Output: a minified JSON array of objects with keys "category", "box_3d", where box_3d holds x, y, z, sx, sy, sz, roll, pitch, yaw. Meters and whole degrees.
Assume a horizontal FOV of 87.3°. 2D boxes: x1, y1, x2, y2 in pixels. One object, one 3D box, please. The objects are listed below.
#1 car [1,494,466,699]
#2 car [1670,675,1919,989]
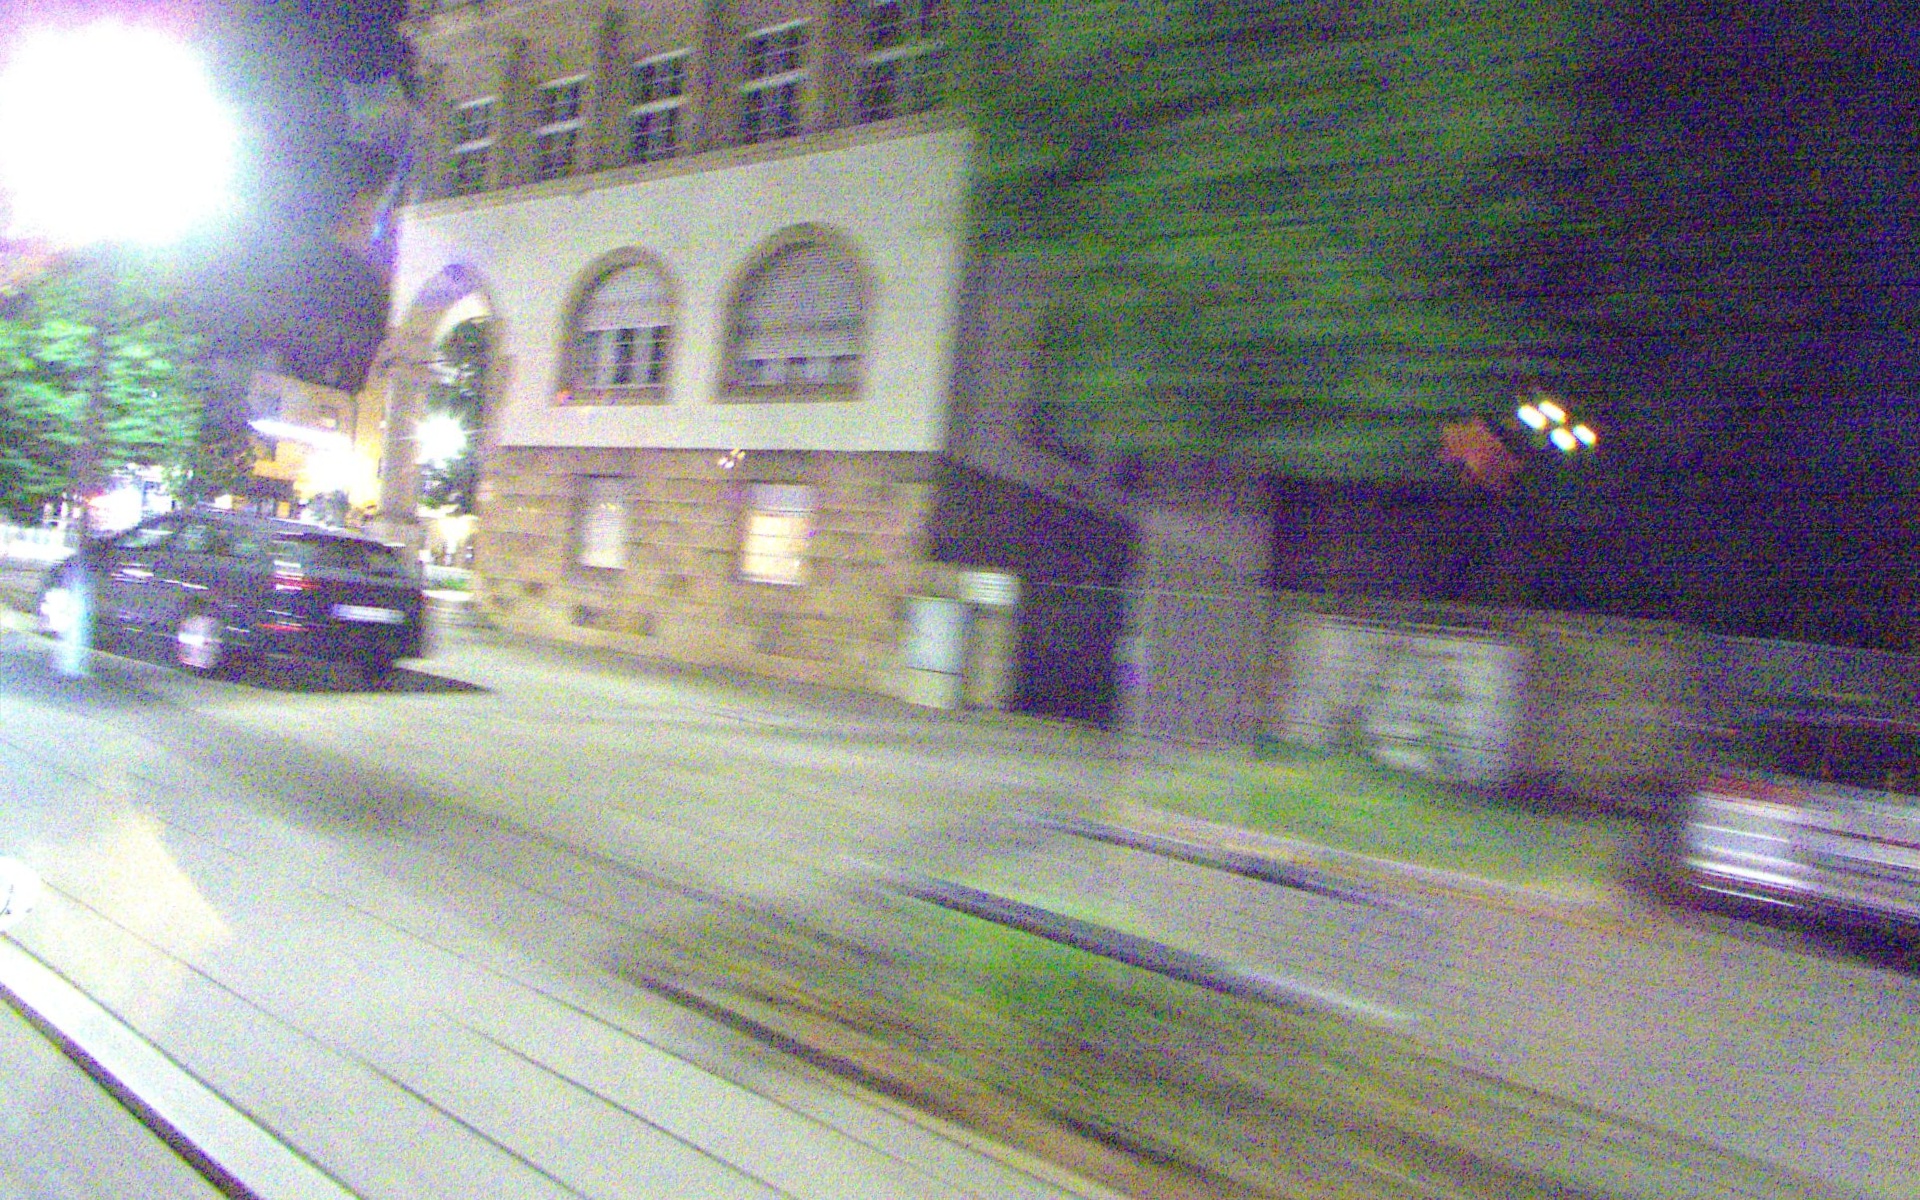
[{"category":"car","box_3d":[-7.276,-0.083,9.980,4.645,1.477,1.737,6,-1,27]},{"category":"car","box_3d":[6.157,1.383,7.033,1.762,1.478,4.425,7,0,36]}]
